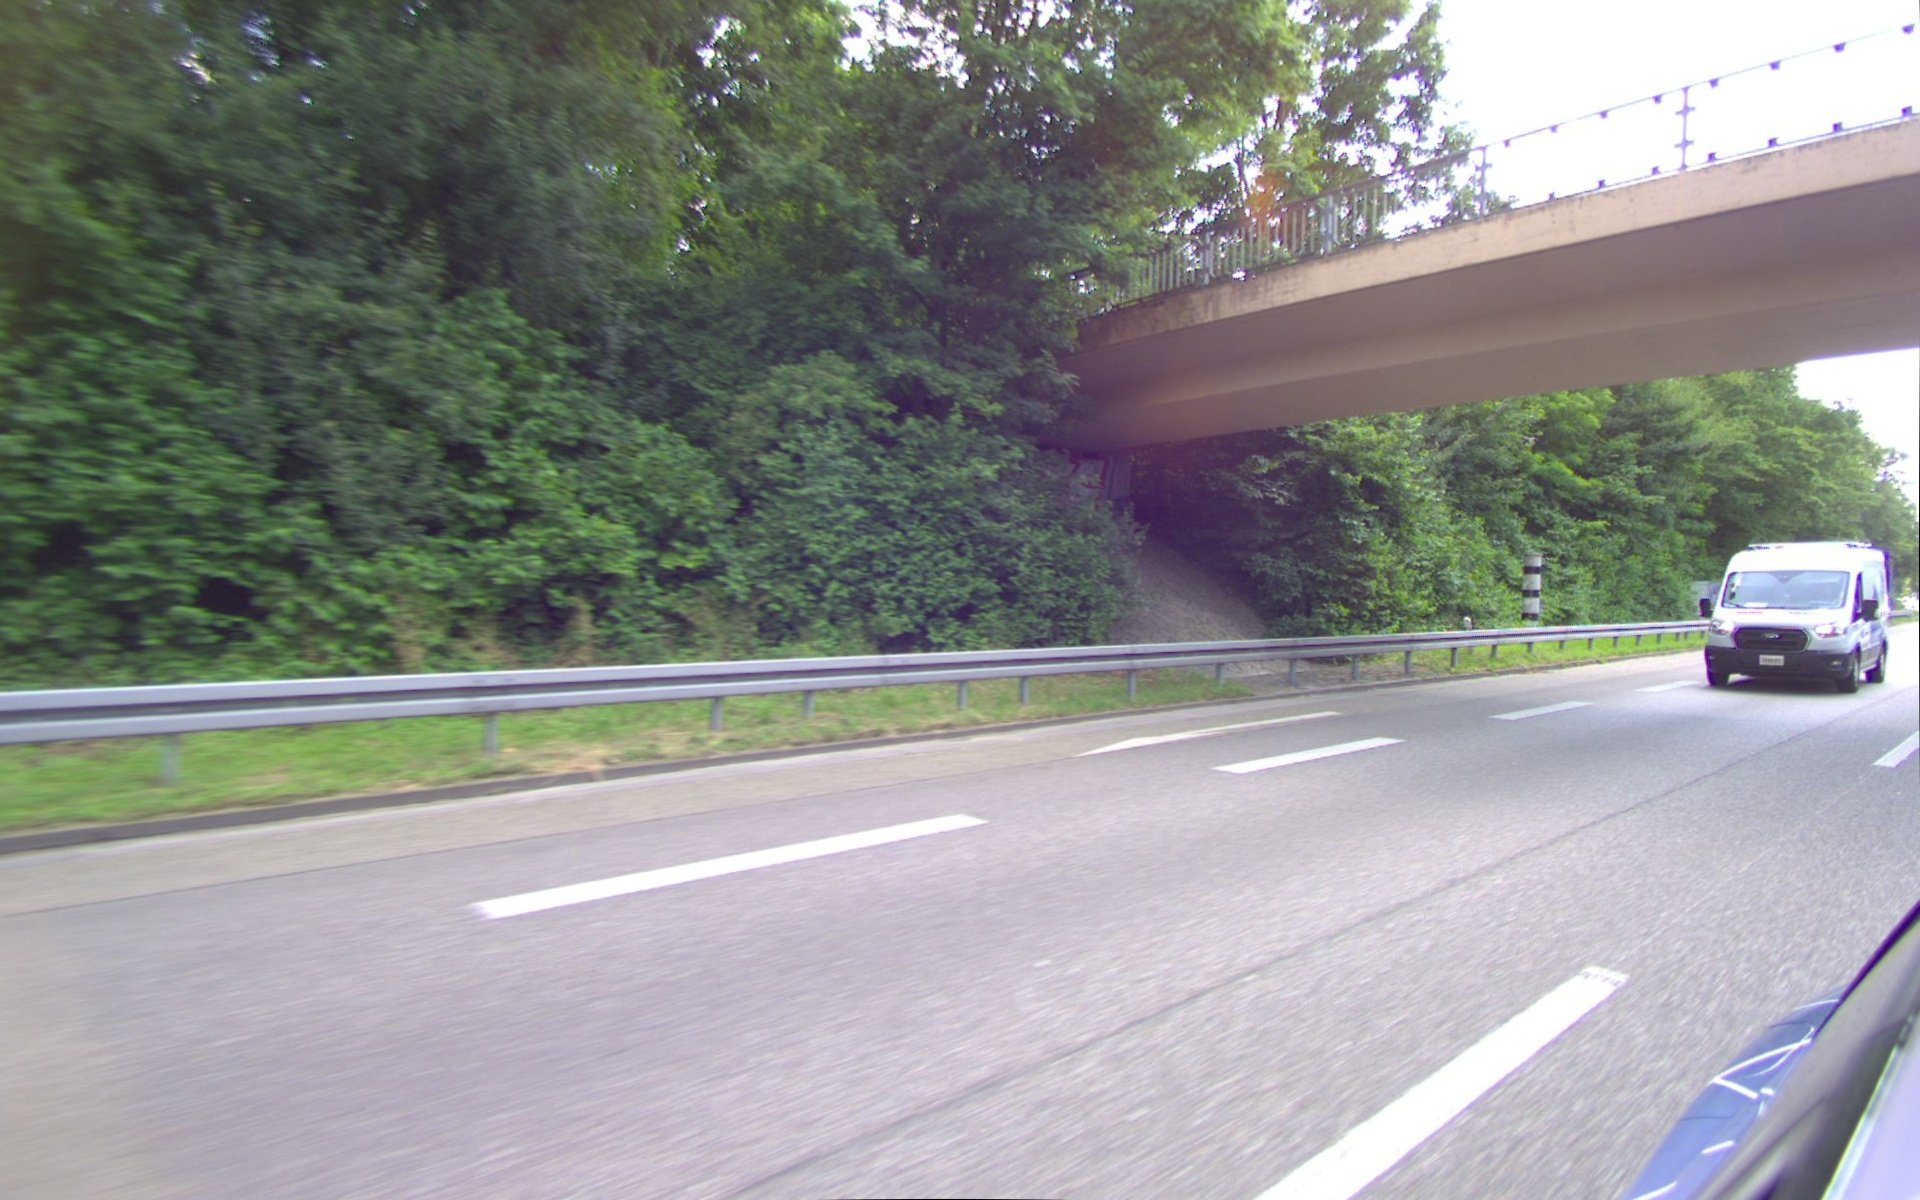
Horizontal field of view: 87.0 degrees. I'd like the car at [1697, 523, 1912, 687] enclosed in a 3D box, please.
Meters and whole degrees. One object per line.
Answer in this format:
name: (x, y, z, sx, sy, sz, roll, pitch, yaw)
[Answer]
car: (15.234, 0.066, 18.149, 5.186, 2.539, 2.102, 0, 0, -40)
